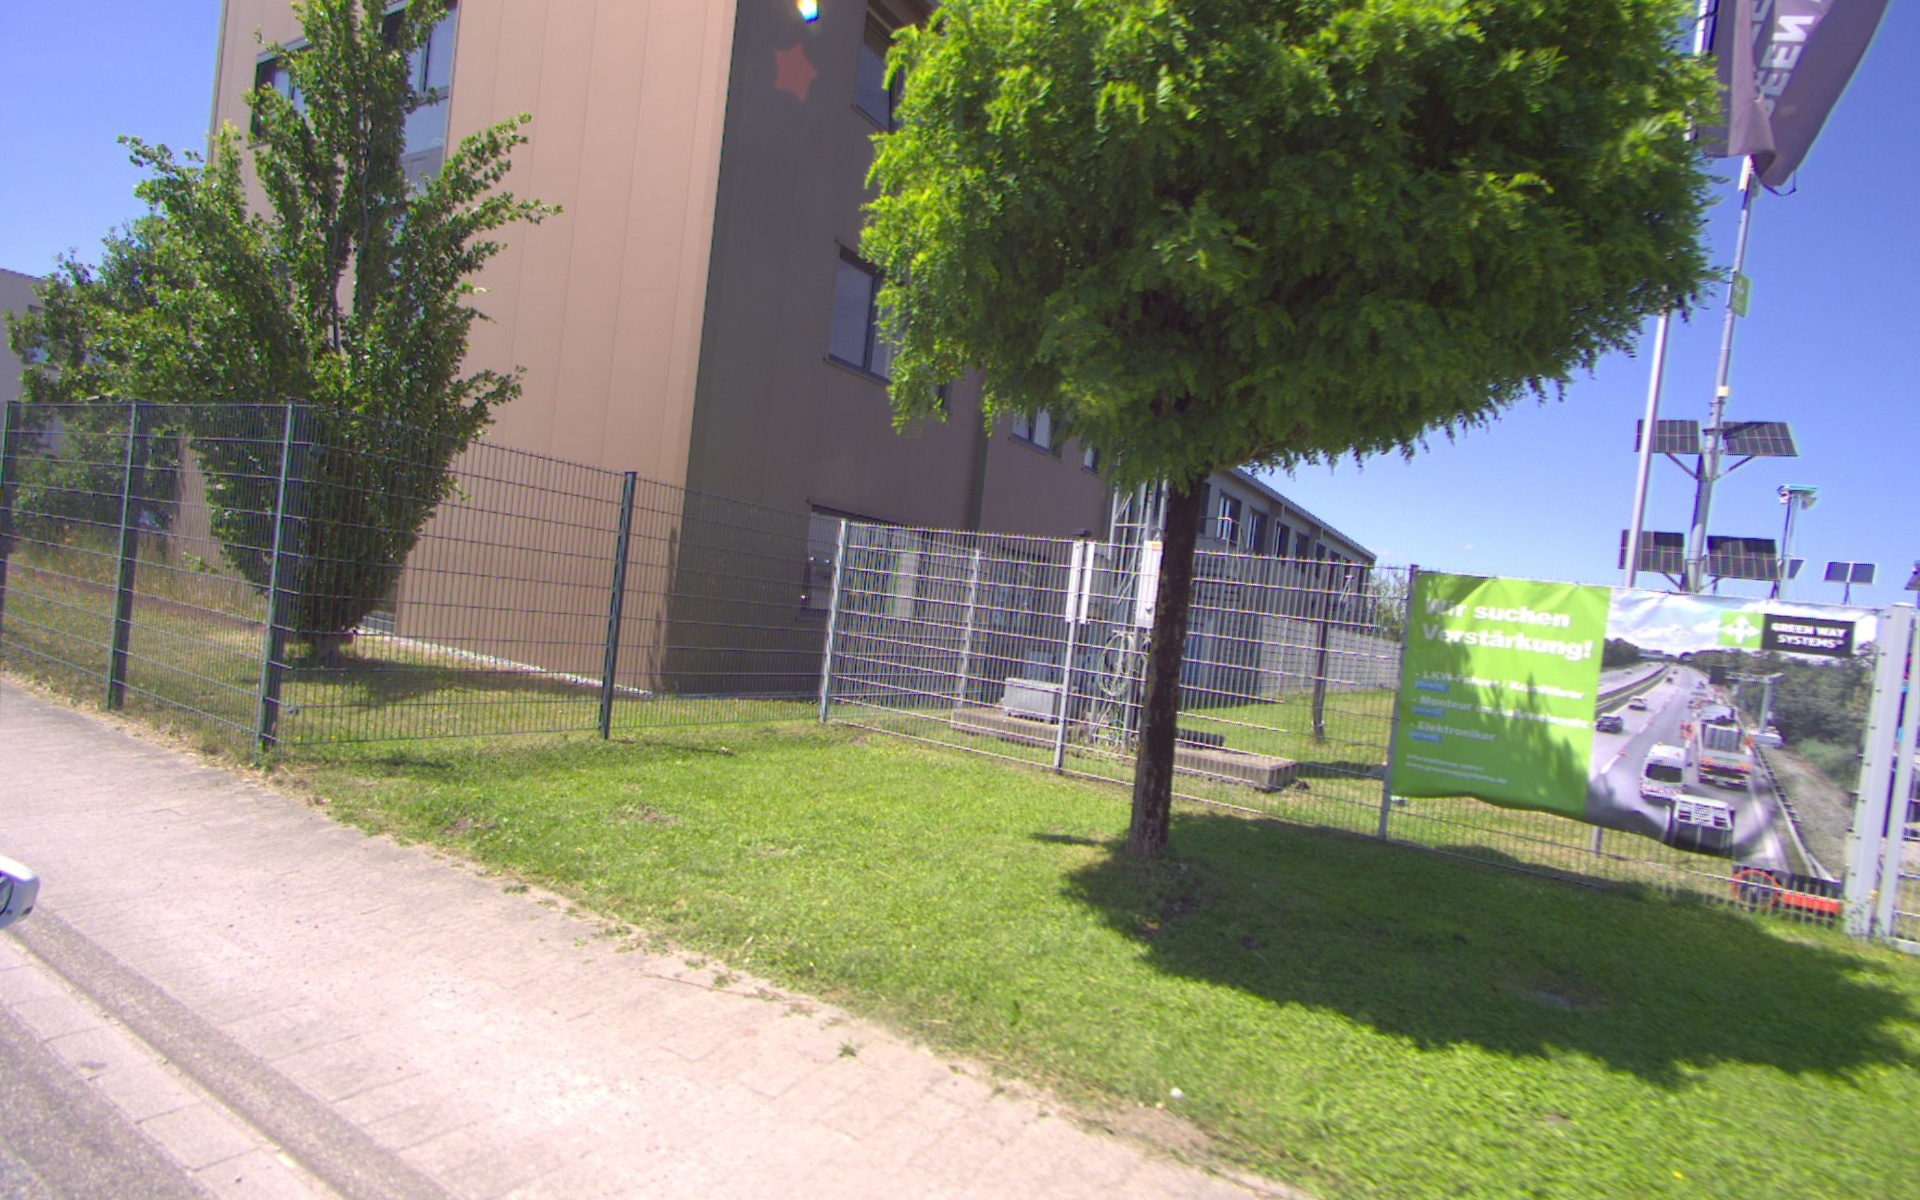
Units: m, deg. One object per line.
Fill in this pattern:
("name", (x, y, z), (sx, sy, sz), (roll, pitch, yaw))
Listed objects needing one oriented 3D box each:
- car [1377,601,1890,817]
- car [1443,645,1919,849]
("car", (9.206, 1.377, 14.407), (5.561, 2.021, 1.995), (7, 1, 32))
("car", (8.366, 1.580, 11.830), (4.535, 1.457, 1.995), (7, 1, 32))
